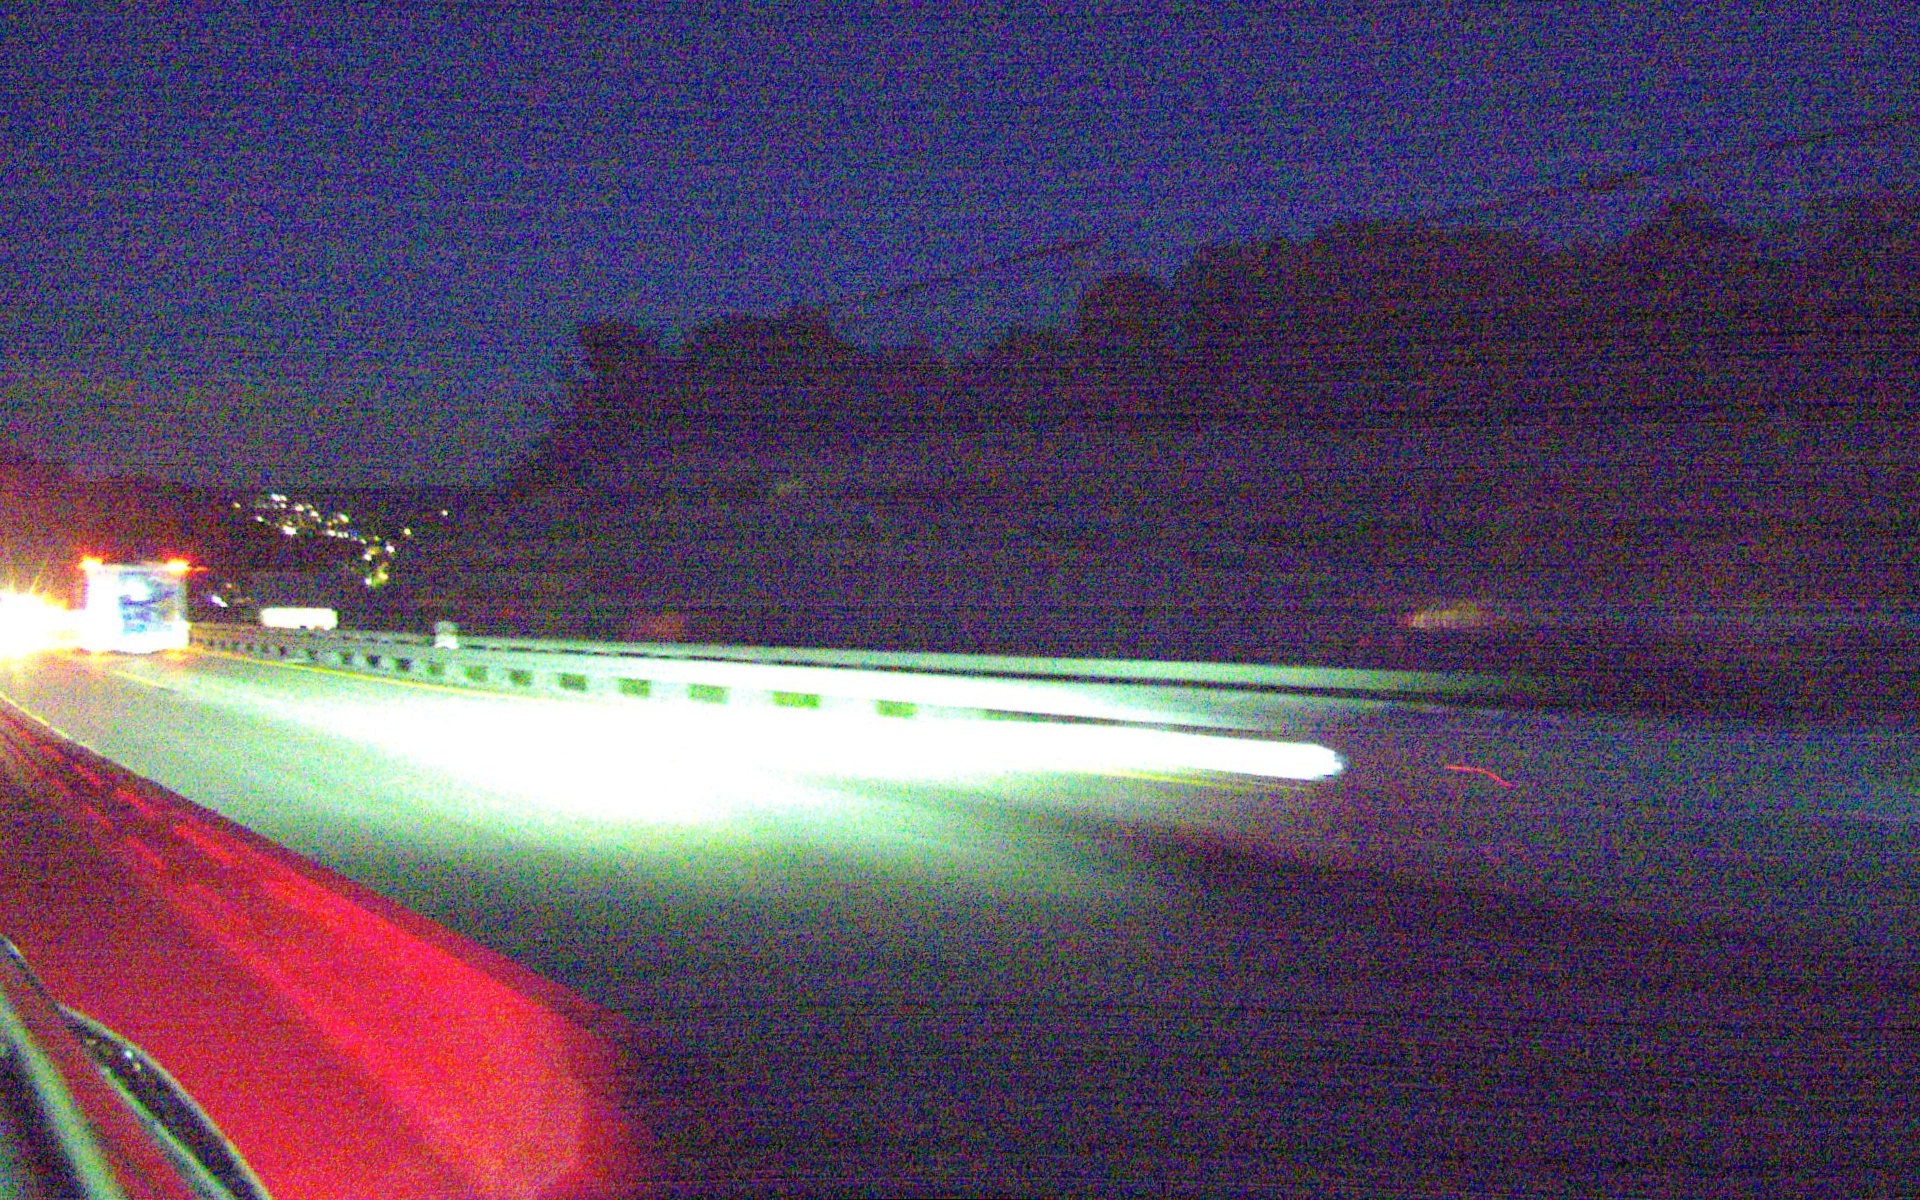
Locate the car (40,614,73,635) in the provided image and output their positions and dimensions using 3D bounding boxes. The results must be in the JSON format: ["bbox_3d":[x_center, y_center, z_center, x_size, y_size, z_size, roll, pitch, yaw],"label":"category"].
[{"bbox_3d":[-64.183,1.738,71.928,1.663,1.470,4.206,1,-1,-40],"label":"car"}]

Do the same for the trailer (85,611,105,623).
[{"bbox_3d":[-116.947,2.274,136.748,1.988,1.652,3.422,1,0,-41],"label":"trailer"}]

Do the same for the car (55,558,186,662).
[{"bbox_3d":[-28.163,0.298,33.828,7.386,3.129,2.459,0,-1,43],"label":"car"}]

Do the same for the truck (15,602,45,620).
[{"bbox_3d":[-128.568,1.588,139.999,2.389,2.443,7.106,1,-1,-38],"label":"truck"}]

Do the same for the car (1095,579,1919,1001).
[{"bbox_3d":[3.241,0.678,4.721,4.948,1.437,1.893,-1,-2,40],"label":"car"}]
